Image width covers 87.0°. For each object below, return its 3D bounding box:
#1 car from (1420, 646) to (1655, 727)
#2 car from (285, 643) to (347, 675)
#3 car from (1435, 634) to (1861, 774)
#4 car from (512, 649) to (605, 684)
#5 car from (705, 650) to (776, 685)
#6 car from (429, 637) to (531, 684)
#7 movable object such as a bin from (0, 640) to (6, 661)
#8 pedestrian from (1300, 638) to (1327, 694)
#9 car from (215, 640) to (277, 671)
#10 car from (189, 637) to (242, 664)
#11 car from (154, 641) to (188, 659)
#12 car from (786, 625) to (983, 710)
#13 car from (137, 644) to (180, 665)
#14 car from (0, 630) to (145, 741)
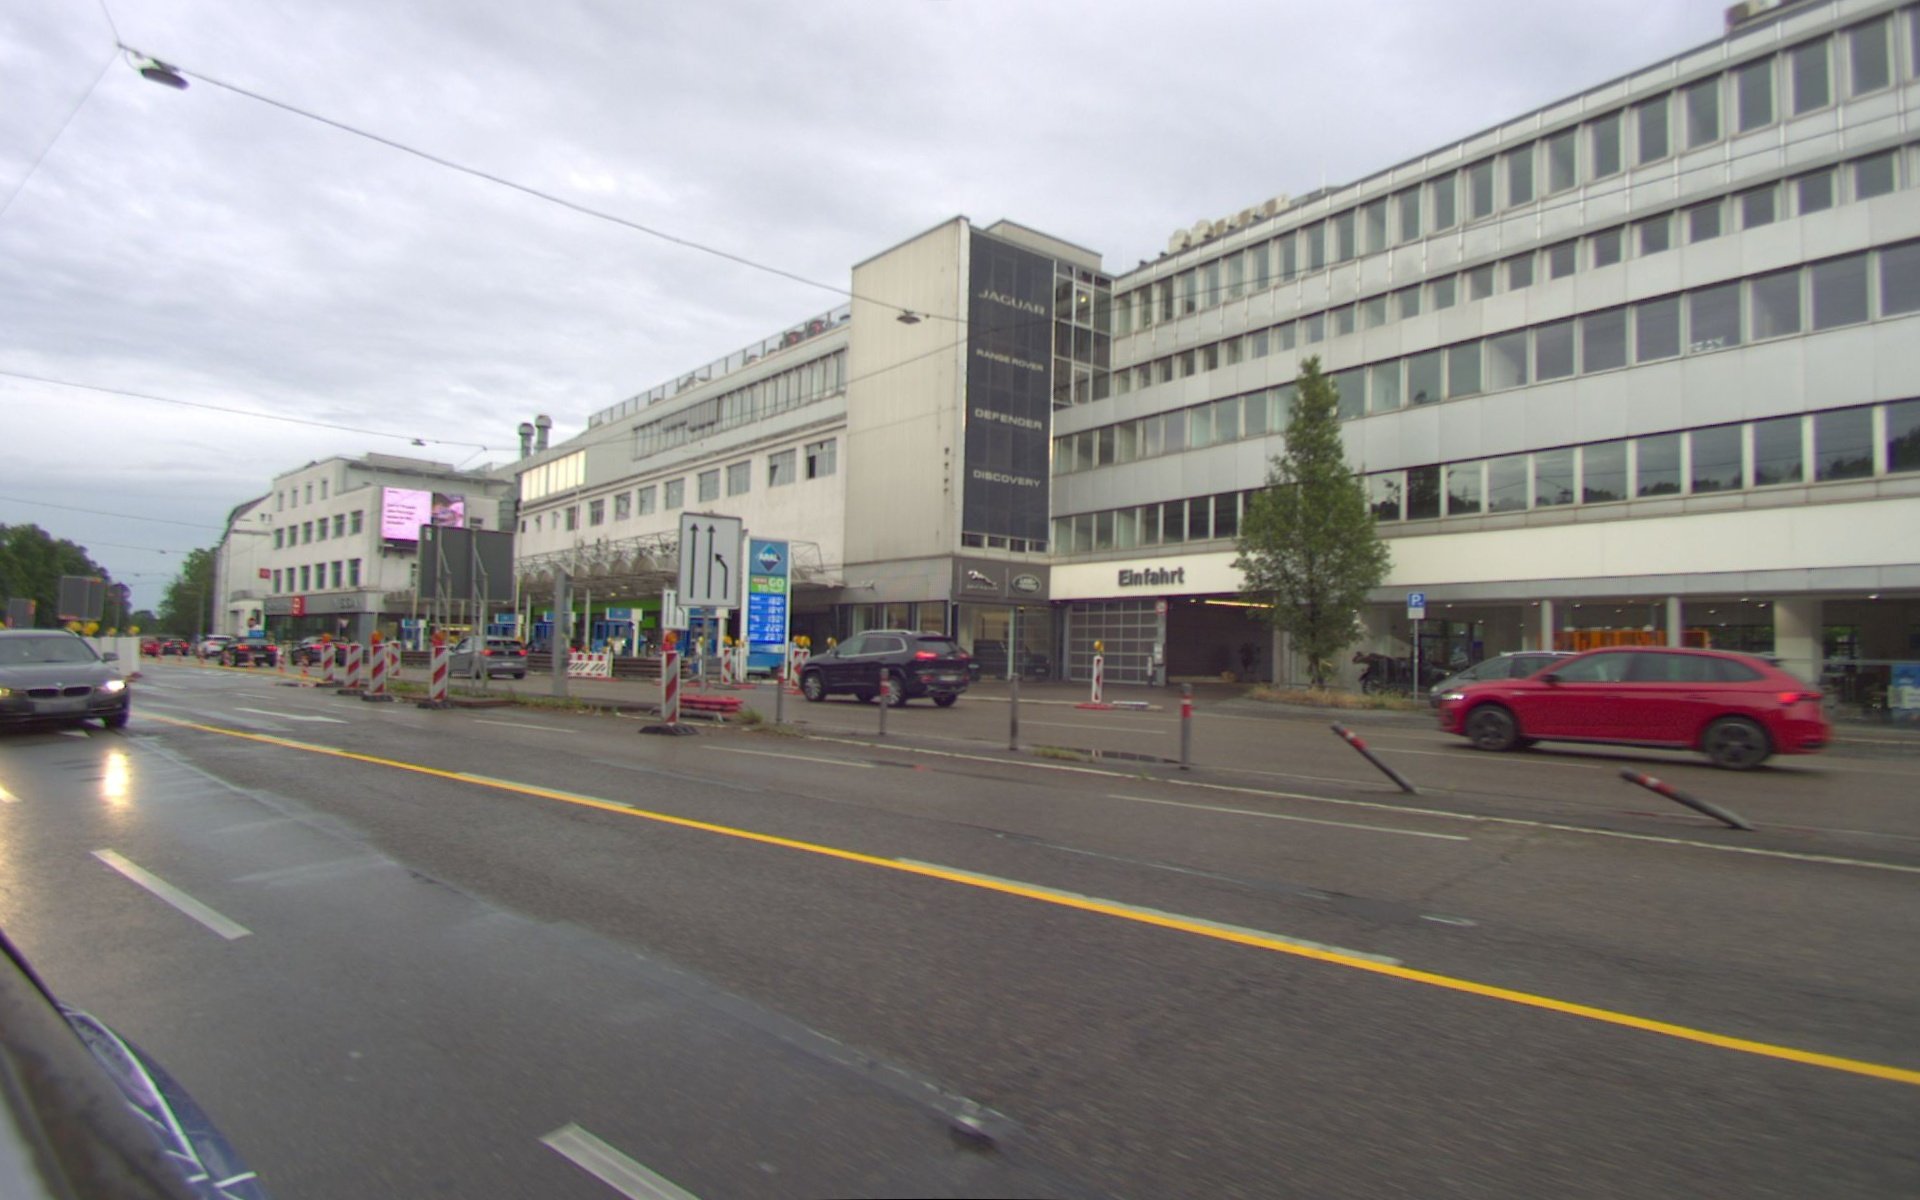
[{"bbox_3d":[14.174,2.088,25.119,1.824,1.792,4.740,5,-5,-36],"label":"car"},{"bbox_3d":[-33.337,3.031,52.356,4.000,1.525,1.732,-1,-5,43],"label":"car"},{"bbox_3d":[8.793,1.247,13.206,4.373,1.514,1.809,-2,-5,43],"label":"car"},{"bbox_3d":[-22.418,3.732,56.677,4.410,1.692,2.017,3,-4,-6],"label":"car"},{"bbox_3d":[-10.600,3.225,48.693,1.632,1.547,3.760,5,-5,-41],"label":"car"},{"bbox_3d":[-17.427,2.174,36.648,4.300,1.570,1.788,-2,-4,42],"label":"car"},{"bbox_3d":[-99.254,5.168,103.576,1.968,2.128,3.856,5,-6,-39],"label":"movable object such as a bin"},{"bbox_3d":[11.184,2.097,32.041,0.699,1.734,0.667,1,-4,9],"label":"pedestrian"},{"bbox_3d":[-34.306,2.646,48.587,4.117,1.365,1.669,-2,-6,45],"label":"car"},{"bbox_3d":[-51.652,3.483,70.149,4.830,1.720,1.958,-2,-4,42],"label":"car"},{"bbox_3d":[-71.600,4.532,91.834,4.077,1.548,1.692,-2,-6,42],"label":"car"},{"bbox_3d":[-1.796,1.489,23.043,4.605,1.751,1.825,-2,-5,43],"label":"car"},{"bbox_3d":[-57.193,3.859,72.187,4.288,1.415,1.717,-2,-4,42],"label":"car"},{"bbox_3d":[-14.036,1.201,15.154,4.168,1.461,1.744,-1,-4,35],"label":"car"}]
